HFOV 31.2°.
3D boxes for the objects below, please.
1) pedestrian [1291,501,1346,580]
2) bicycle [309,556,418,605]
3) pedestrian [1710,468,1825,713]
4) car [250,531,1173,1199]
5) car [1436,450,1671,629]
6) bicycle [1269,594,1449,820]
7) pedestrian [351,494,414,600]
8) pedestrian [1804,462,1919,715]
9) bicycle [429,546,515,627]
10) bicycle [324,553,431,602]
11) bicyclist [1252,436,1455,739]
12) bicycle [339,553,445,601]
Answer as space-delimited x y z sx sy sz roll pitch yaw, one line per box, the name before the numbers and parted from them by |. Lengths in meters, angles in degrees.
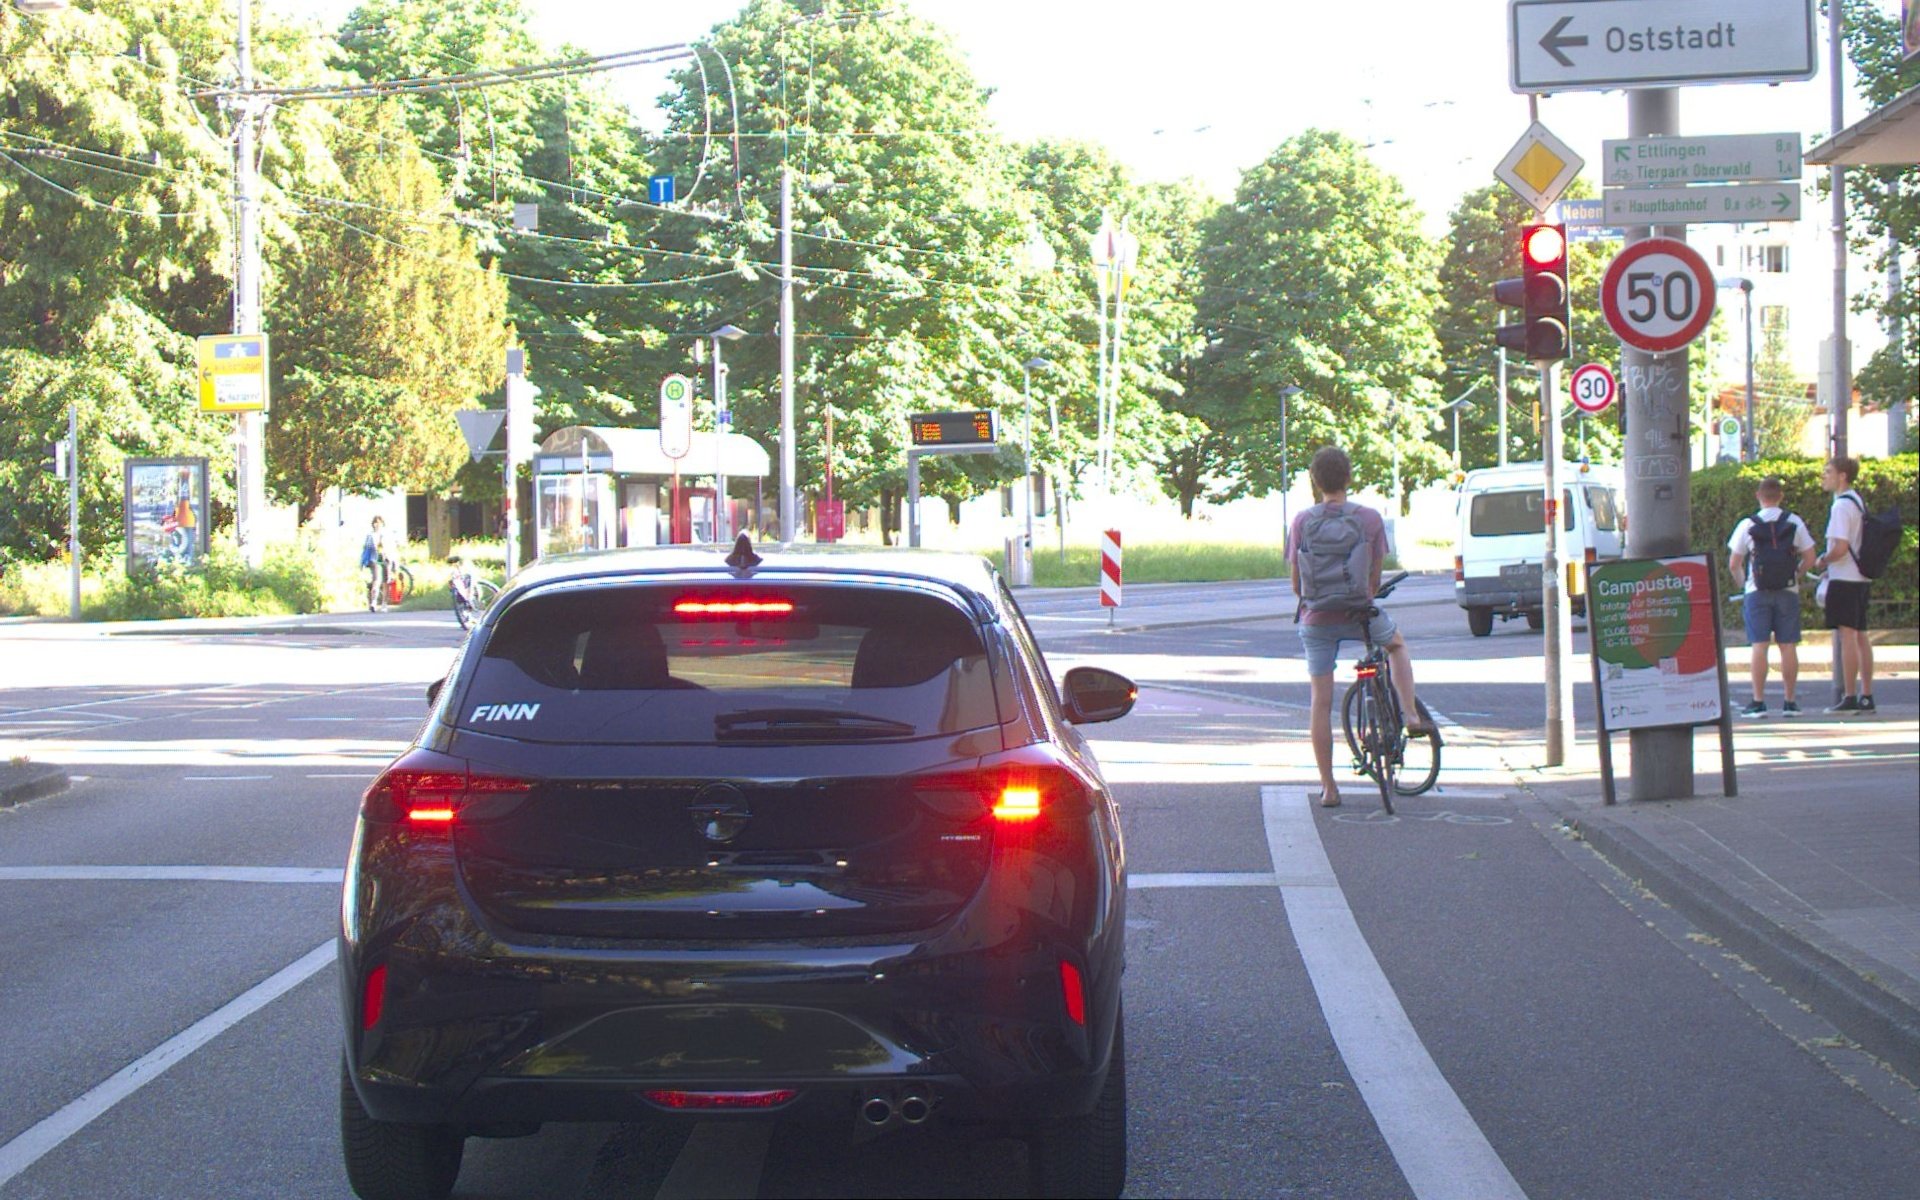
pedestrian | 8.159 -1.354 78.269 0.959 1.786 0.994 0 1 25
bicycle | -11.071 -0.364 63.849 1.877 0.903 0.659 0 1 7
pedestrian | 5.986 -0.076 25.503 0.698 1.786 0.617 -1 1 -1
car | -0.454 0.560 8.718 1.800 1.436 3.940 -1 1 1
car | 7.999 -0.789 46.030 2.092 2.270 4.301 1 1 24
bicycle | 2.052 0.523 17.910 0.667 1.056 2.082 0 1 -1
pedestrian | -9.334 -0.857 55.568 0.699 1.687 0.727 -2 2 -42
pedestrian | 6.749 -0.093 25.523 0.704 1.840 0.699 0 2 39
bicycle | -6.610 -0.189 46.642 0.825 1.056 1.883 0 1 2
bicycle | -10.987 -0.433 64.833 1.877 0.903 0.659 0 1 7
bicyclist | 2.026 -0.080 17.850 0.840 1.504 1.369 0 1 -2
bicycle | -10.848 -0.439 65.704 1.877 0.903 0.659 0 1 7
